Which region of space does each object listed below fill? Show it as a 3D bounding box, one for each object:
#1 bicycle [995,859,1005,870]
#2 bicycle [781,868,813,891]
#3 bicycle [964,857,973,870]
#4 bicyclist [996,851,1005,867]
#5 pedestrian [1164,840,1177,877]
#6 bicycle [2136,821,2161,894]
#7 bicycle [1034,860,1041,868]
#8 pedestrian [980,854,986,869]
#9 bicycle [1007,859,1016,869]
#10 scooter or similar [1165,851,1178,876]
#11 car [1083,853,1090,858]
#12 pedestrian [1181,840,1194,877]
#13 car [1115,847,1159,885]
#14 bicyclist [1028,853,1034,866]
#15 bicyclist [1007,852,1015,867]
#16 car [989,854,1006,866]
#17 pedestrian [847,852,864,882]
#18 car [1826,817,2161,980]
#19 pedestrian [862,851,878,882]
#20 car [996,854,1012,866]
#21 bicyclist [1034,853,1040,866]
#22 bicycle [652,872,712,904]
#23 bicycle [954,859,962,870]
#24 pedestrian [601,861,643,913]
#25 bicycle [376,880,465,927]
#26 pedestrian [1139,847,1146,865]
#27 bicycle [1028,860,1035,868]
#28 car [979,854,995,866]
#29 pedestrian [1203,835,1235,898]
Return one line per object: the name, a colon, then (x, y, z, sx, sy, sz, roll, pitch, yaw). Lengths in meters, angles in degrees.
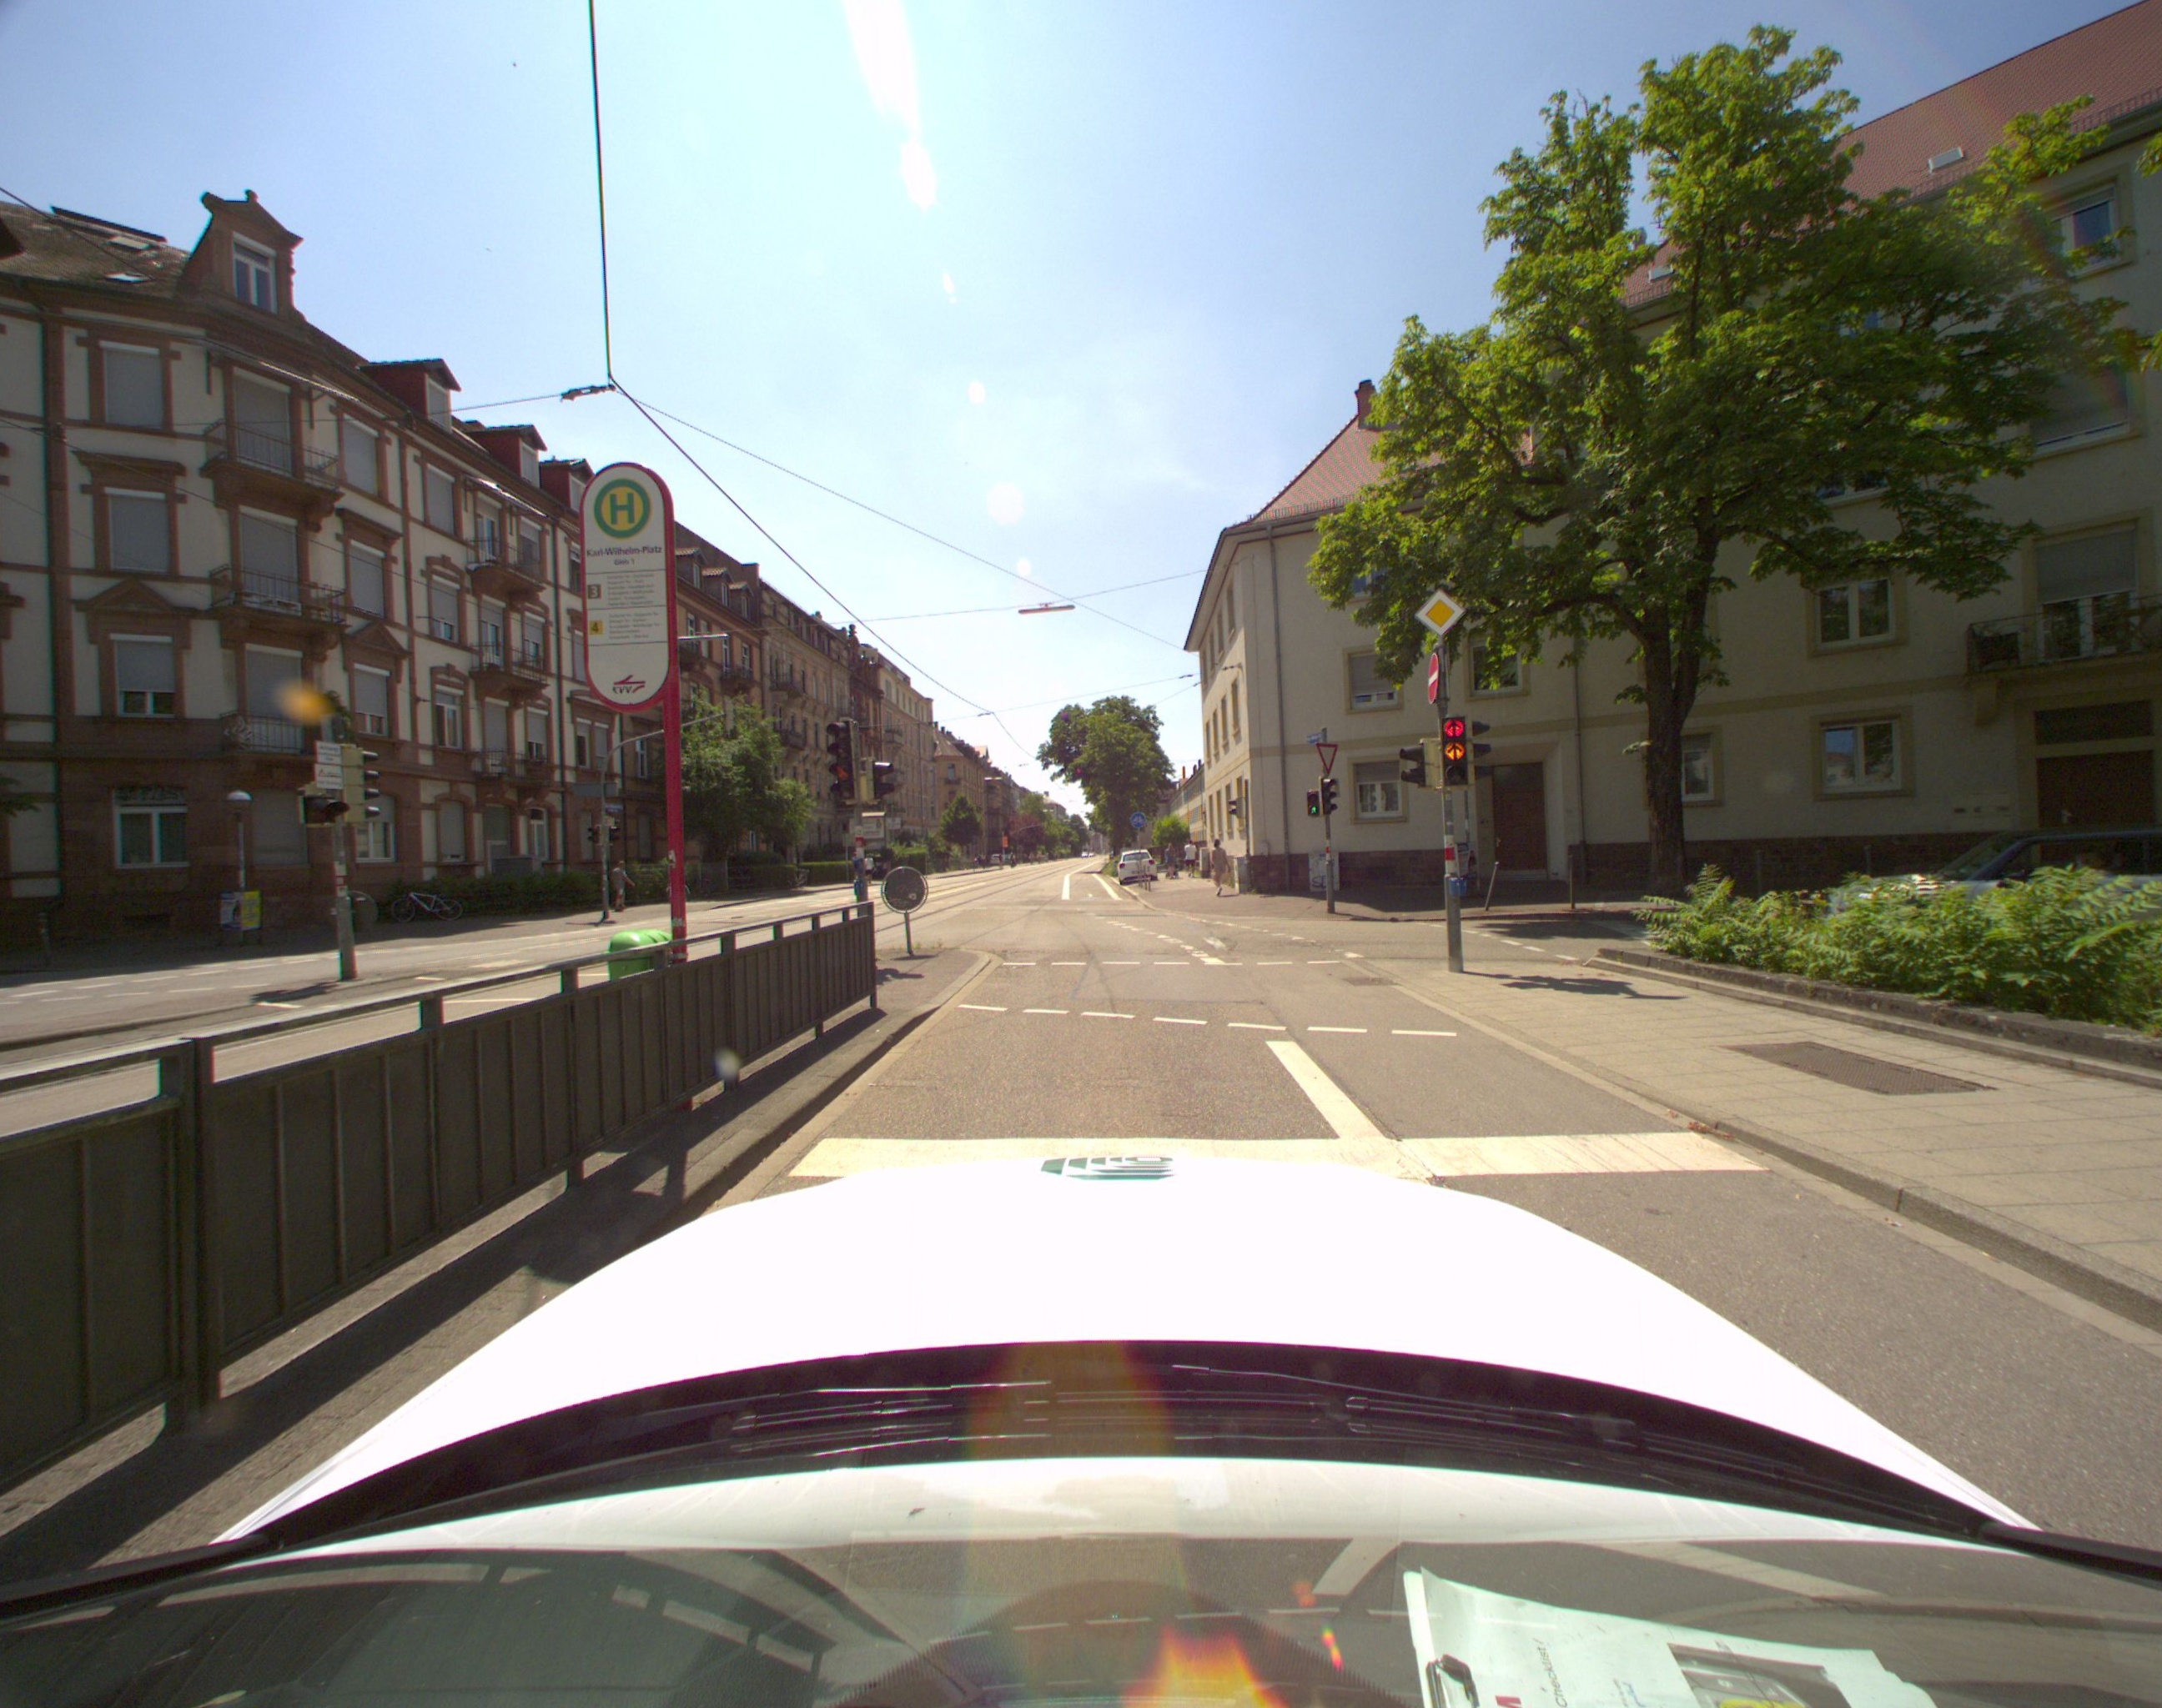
bicycle: (-8.384, 1.072, 84.597, 0.724, 1.123, 2.087, 0, -1, 4)
bicycle: (-14.384, 1.269, 41.260, 0.936, 1.136, 2.767, 0, -1, -7)
bicycle: (-11.718, 0.985, 85.137, 0.675, 1.278, 1.918, -2, 0, -1)
bicyclist: (-8.381, 0.547, 84.614, 0.724, 1.629, 1.080, 0, -1, 3)
pedestrian: (4.089, 0.213, 37.234, 0.553, 1.645, 0.679, -1, -1, 8)
bicycle: (17.004, 0.030, 12.086, 0.527, 1.104, 1.589, -2, 0, -34)
bicycle: (-6.361, 1.420, 118.759, 0.724, 1.123, 2.087, 0, -1, 4)
pedestrian: (-10.519, 0.810, 87.782, 0.519, 1.659, 0.529, -2, 0, 1)
bicycle: (-8.101, 1.184, 94.457, 0.724, 1.123, 2.087, 0, -1, 4)
scooter or similar: (4.239, 0.456, 38.155, 0.553, 1.155, 1.208, -1, -1, 8)
car: (1.465, 0.476, 218.932, 1.699, 1.277, 4.001, 0, -1, 2)
pedestrian: (4.897, 0.209, 37.476, 0.553, 1.645, 0.679, -1, -1, 8)
car: (2.516, 0.527, 37.398, 1.808, 1.516, 4.001, -4, -1, 2)
bicyclist: (-7.241, 0.824, 118.806, 0.724, 1.818, 1.080, 0, -1, 3)
bicyclist: (-8.102, 0.636, 94.501, 0.724, 1.768, 1.080, 0, -1, 3)
car: (-11.890, 0.847, 116.066, 1.912, 1.715, 4.001, 0, -1, 2)
pedestrian: (-13.572, 0.772, 49.046, 0.814, 1.822, 0.872, 0, 1, -4)
car: (10.337, 0.397, 8.543, 1.715, 1.506, 3.607, -2, 1, -44)
pedestrian: (-12.869, 0.753, 49.659, 0.814, 1.822, 0.872, 0, 1, -4)
car: (-11.670, 0.915, 124.330, 1.912, 1.715, 4.001, 0, -1, 2)
bicyclist: (-6.363, 0.817, 118.717, 0.724, 1.818, 1.080, 0, -1, 3)
bicycle: (-15.677, 1.312, 32.083, 0.934, 1.136, 2.774, 0, -1, 1)
bicycle: (-12.162, 1.056, 80.500, 0.677, 1.064, 1.912, -2, 0, -9)
pedestrian: (-15.729, 1.121, 27.934, 1.068, 1.689, 0.714, -2, 0, -43)
bicycle: (-19.562, 1.447, 24.161, 0.557, 1.294, 1.975, -1, -1, 43)
pedestrian: (5.351, 0.144, 70.779, 0.519, 1.562, 0.573, -2, 0, 1)
bicycle: (-7.239, 1.399, 118.872, 0.724, 1.123, 2.087, 0, -1, 4)
car: (-14.342, 0.935, 124.468, 1.912, 1.715, 4.001, 0, -1, 2)
pedestrian: (4.066, 0.349, 23.980, 0.646, 1.690, 1.062, -7, 3, 15)
